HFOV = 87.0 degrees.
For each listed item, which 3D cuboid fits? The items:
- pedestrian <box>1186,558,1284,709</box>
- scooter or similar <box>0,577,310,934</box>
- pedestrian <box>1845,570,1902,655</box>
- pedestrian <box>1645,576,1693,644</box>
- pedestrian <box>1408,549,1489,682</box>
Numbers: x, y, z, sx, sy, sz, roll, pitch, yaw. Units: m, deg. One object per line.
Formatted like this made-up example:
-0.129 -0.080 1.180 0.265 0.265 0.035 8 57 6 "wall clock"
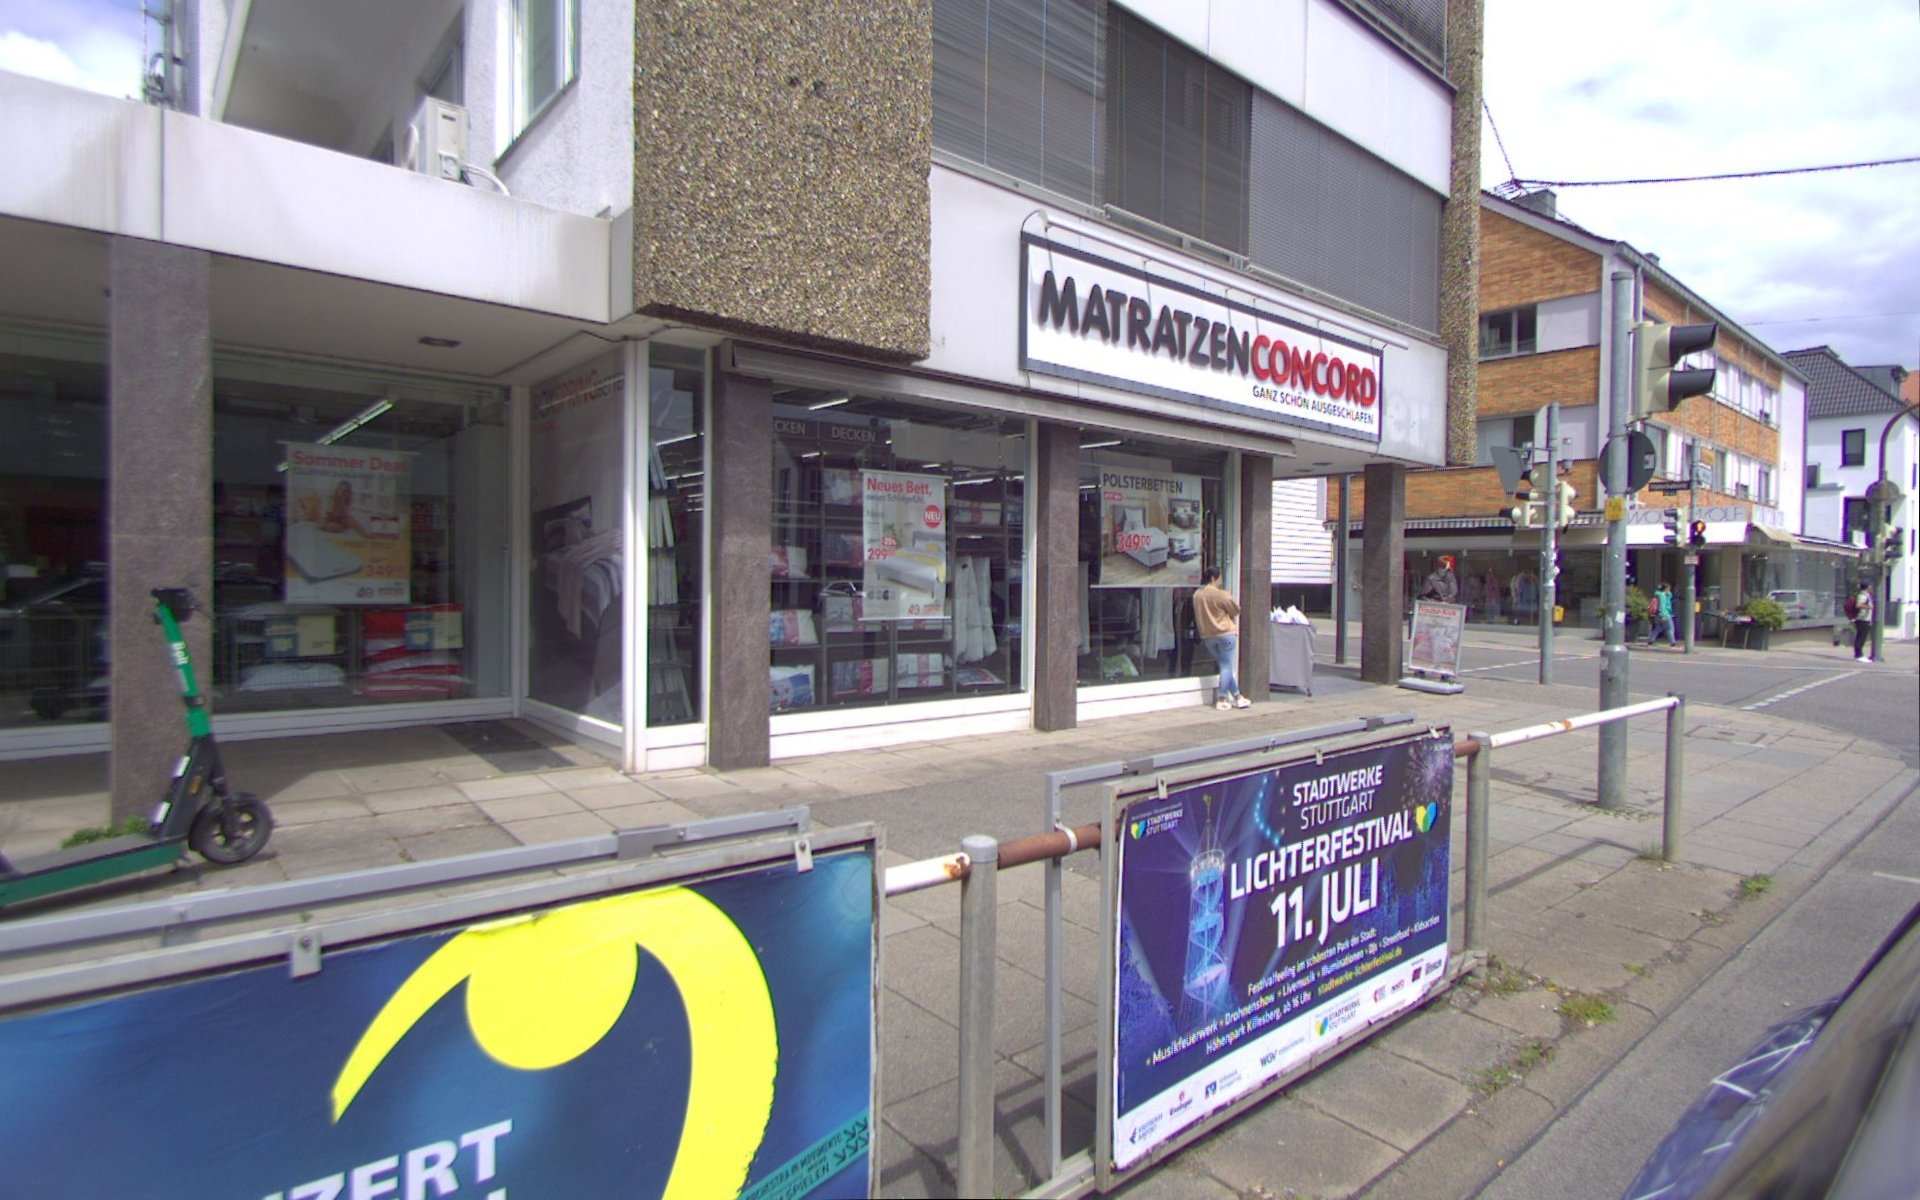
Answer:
2.893 0.326 10.653 0.707 1.517 0.681 0 1 -40 "pedestrian"
-3.496 0.555 4.217 0.686 1.283 1.169 2 2 37 "scooter or similar"
20.446 0.266 22.651 0.862 1.853 0.583 1 2 -24 "pedestrian"
16.637 0.220 23.760 0.812 1.544 0.771 2 1 30 "pedestrian"
6.504 0.188 13.521 0.786 1.691 0.803 2 1 17 "pedestrian"
